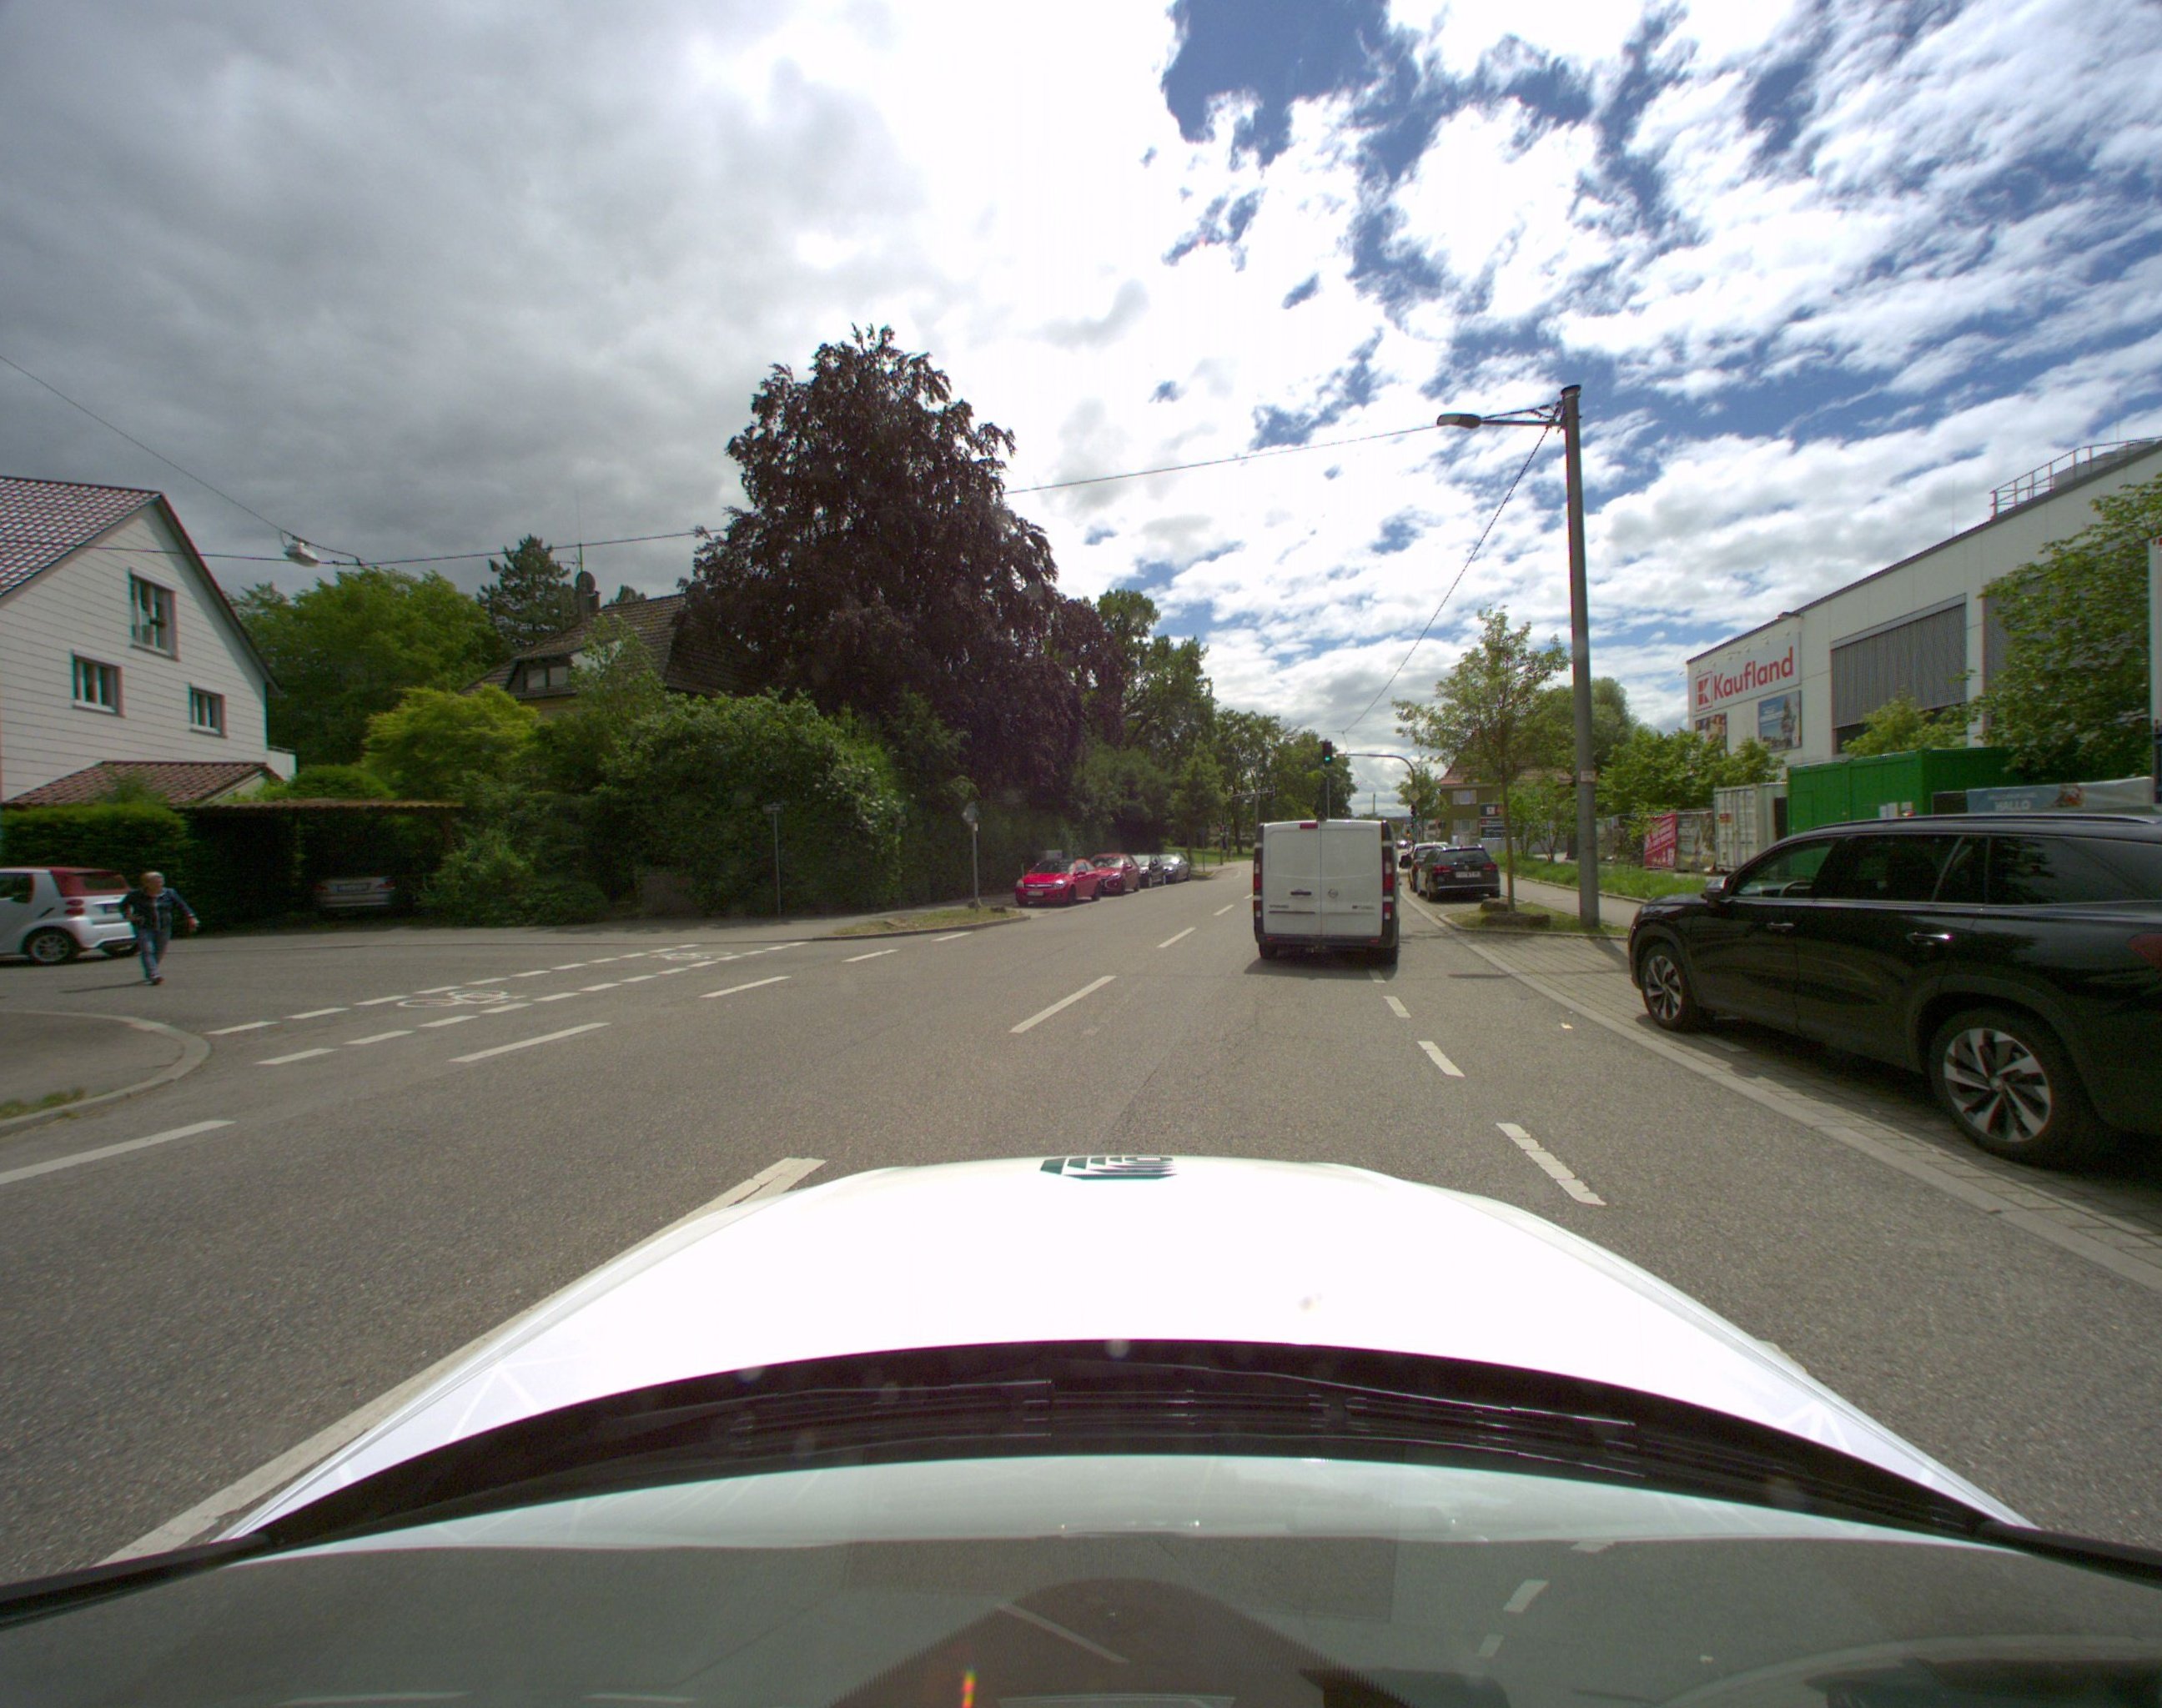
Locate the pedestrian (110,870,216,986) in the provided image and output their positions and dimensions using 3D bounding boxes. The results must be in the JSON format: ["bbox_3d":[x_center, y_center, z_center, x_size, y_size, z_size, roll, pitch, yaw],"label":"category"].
[{"bbox_3d":[-12.602,0.982,11.206,0.731,1.508,0.624,-1,0,-19],"label":"pedestrian"}]

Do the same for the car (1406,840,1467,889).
[{"bbox_3d":[12.036,0.336,27.757,1.555,1.493,4.020,-3,0,19],"label":"car"}]

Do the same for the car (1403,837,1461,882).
[{"bbox_3d":[14.147,0.201,33.009,1.723,1.616,4.408,-4,-1,19],"label":"car"}]

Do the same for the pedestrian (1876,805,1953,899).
[{"bbox_3d":[15.567,-0.030,15.228,0.647,1.697,0.848,-1,0,16],"label":"pedestrian"}]

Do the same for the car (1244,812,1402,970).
[{"bbox_3d":[3.943,0.423,12.659,1.922,1.960,4.859,0,1,22],"label":"car"}]

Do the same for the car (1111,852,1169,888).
[{"bbox_3d":[2.618,0.651,35.345,1.582,1.450,3.614,0,0,20],"label":"car"}]

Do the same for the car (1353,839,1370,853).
[{"bbox_3d":[33.797,-0.974,97.963,1.818,1.616,4.173,-3,0,20],"label":"car"}]

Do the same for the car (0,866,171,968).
[{"bbox_3d":[-17.317,0.996,13.335,2.778,1.555,1.579,0,0,-19],"label":"car"}]

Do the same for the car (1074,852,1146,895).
[{"bbox_3d":[1.170,0.685,30.669,1.636,1.450,4.124,0,0,18],"label":"car"}]

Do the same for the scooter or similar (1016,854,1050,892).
[{"bbox_3d":[-1.828,0.713,31.274,0.664,1.412,1.657,-1,1,20],"label":"scooter or similar"}]

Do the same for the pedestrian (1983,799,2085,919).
[{"bbox_3d":[13.887,0.076,11.894,0.645,1.696,0.728,-1,0,16],"label":"pedestrian"}]

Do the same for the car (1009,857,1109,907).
[{"bbox_3d":[-0.577,0.814,25.632,1.647,1.378,4.588,0,0,19],"label":"car"}]

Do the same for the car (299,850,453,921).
[{"bbox_3d":[-17.018,0.670,19.891,1.731,1.510,3.968,-1,1,-24],"label":"car"}]

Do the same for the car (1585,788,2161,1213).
[{"bbox_3d":[5.351,0.507,5.153,1.868,1.621,4.859,-3,0,9],"label":"car"}]

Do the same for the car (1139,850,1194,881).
[{"bbox_3d":[4.214,0.526,39.374,1.681,1.365,4.708,0,1,18],"label":"car"}]

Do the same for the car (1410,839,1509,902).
[{"bbox_3d":[10.502,0.410,22.945,1.751,1.477,4.957,-4,-1,17],"label":"car"}]
